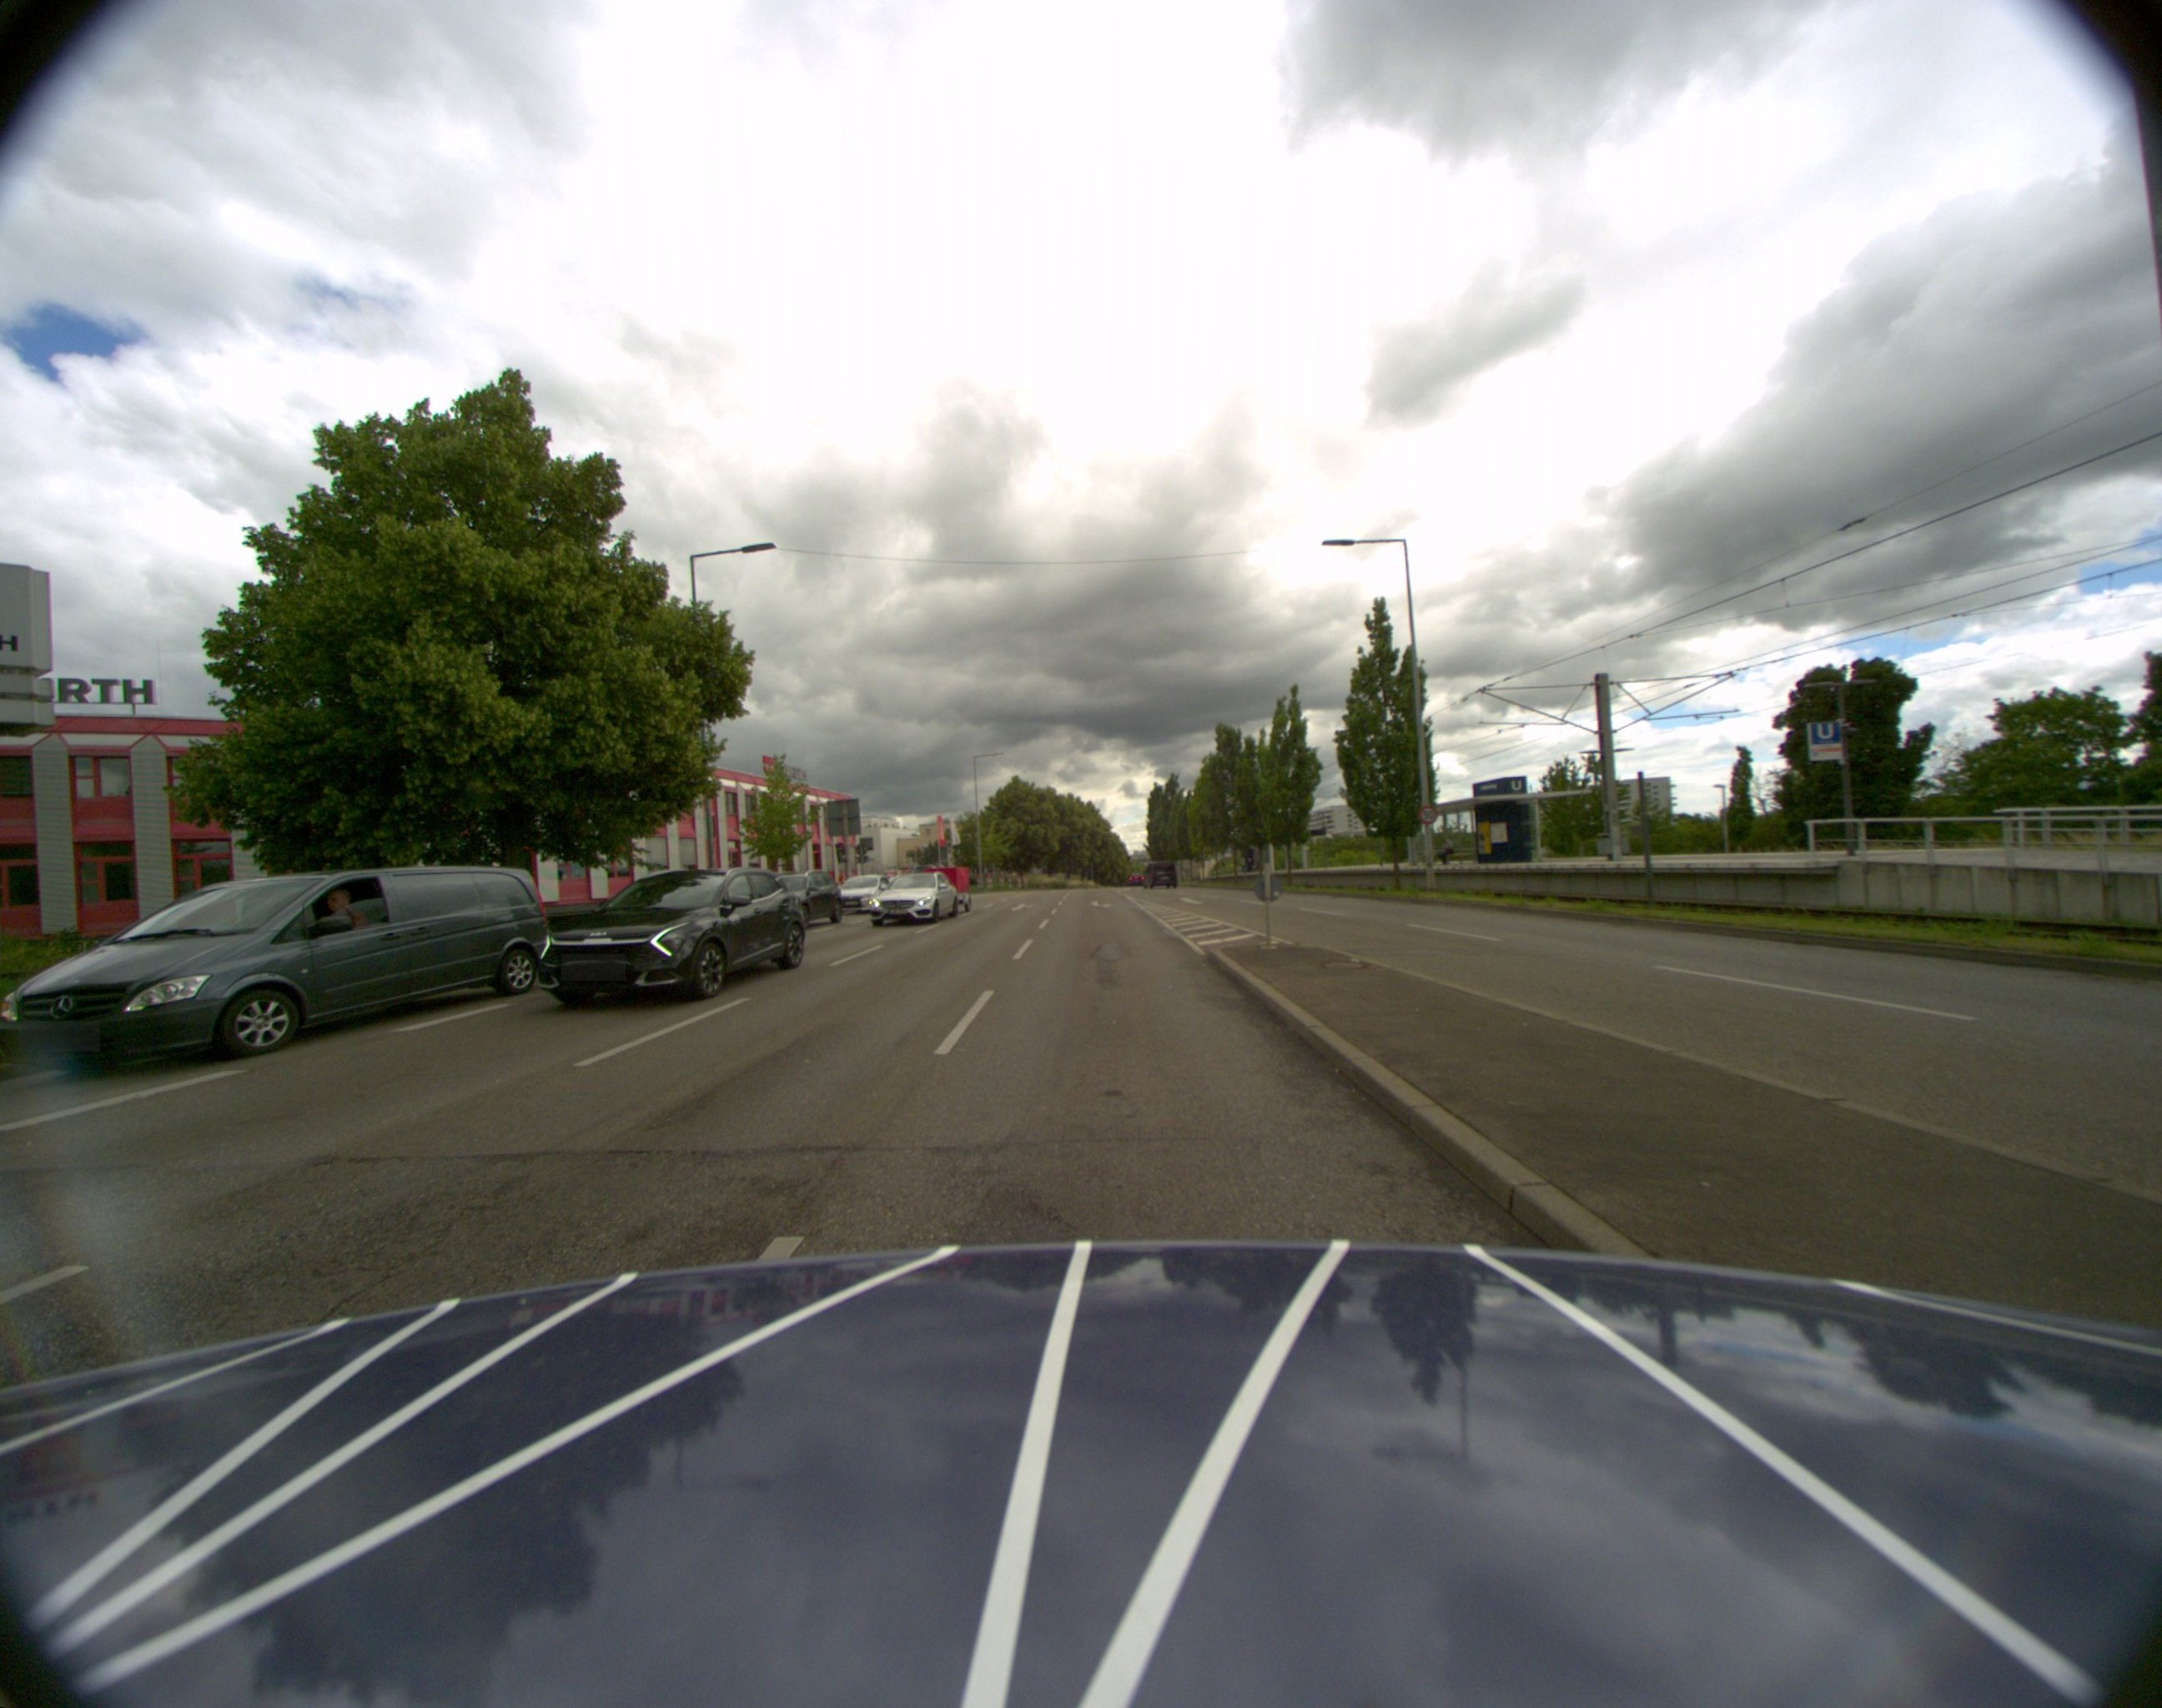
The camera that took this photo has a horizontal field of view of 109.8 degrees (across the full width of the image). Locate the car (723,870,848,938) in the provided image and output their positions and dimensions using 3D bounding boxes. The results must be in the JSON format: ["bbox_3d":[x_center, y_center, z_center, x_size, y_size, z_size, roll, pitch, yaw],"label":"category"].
[{"bbox_3d":[-8.439,1.376,22.157,1.865,1.648,4.209,-4,-1,1],"label":"car"}]

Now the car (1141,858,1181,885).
[{"bbox_3d":[5.645,1.215,54.153,1.893,1.802,5.091,-2,-1,-4],"label":"car"}]

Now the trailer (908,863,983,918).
[{"bbox_3d":[-4.729,1.231,27.023,1.775,1.650,3.996,-2,1,1],"label":"trailer"}]

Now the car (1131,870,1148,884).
[{"bbox_3d":[6.832,2.709,89.239,1.740,1.499,3.660,-2,0,1],"label":"car"}]

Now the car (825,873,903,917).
[{"bbox_3d":[-8.519,1.564,30.231,1.763,1.431,4.370,-3,0,0],"label":"car"}]

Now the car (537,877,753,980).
[{"bbox_3d":[-8.588,1.386,15.483,1.844,1.507,4.106,-6,0,1],"label":"car"}]

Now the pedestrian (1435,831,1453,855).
[{"bbox_3d":[17.552,-0.525,36.742,0.601,1.148,0.447,-2,1,1],"label":"pedestrian"}]

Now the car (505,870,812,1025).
[{"bbox_3d":[-5.453,1.087,10.580,1.798,1.521,4.218,-2,1,1],"label":"car"}]

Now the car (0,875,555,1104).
[{"bbox_3d":[-8.751,1.243,8.835,1.763,1.764,4.676,-5,-1,2],"label":"car"}]

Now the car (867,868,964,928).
[{"bbox_3d":[-4.831,1.234,22.791,1.775,1.442,4.401,-2,1,1],"label":"car"}]
